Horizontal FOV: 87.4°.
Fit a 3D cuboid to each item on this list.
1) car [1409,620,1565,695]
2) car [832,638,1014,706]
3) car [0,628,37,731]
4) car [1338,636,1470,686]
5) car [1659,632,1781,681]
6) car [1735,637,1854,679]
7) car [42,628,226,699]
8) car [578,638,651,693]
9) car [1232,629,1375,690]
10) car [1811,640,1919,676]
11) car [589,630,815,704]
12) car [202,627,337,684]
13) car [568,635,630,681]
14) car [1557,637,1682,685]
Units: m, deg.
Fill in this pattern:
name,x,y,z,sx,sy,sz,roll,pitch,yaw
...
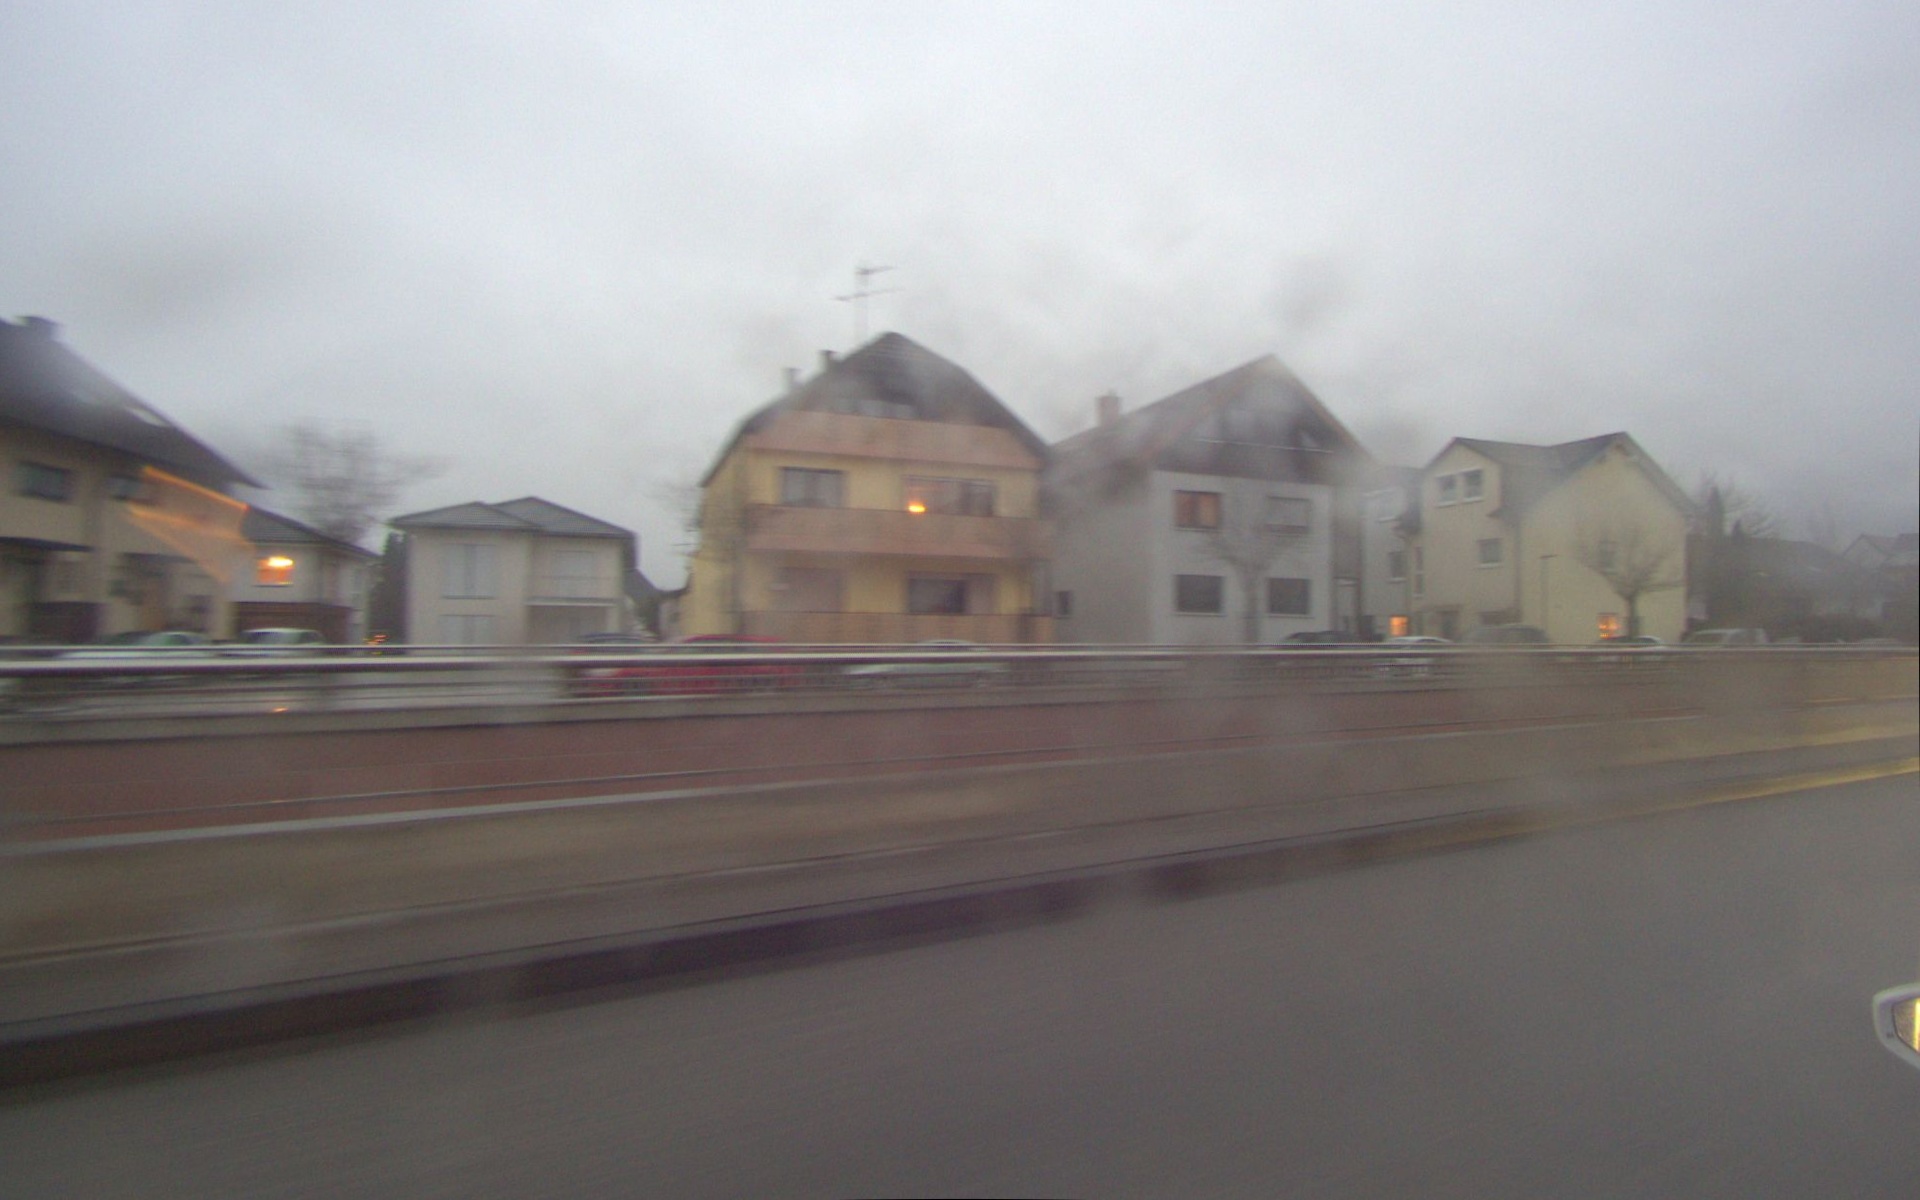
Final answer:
name,x,y,z,sx,sy,sz,roll,pitch,yaw
car,13.744,1.479,26.178,3.814,1.827,1.792,2,-3,-29
car,-0.901,1.721,24.749,4.088,1.525,1.871,1,-1,-25
car,-17.891,1.324,16.276,3.932,1.646,1.811,1,1,-26
car,14.465,1.970,32.731,3.977,1.543,1.764,2,-3,-25
car,30.073,2.228,39.751,4.438,1.802,1.870,0,-3,-24
car,34.749,2.412,41.819,4.435,1.593,1.871,0,-3,-22
car,-21.083,1.568,25.873,1.780,1.544,4.035,1,0,-8
car,-10.648,1.965,30.842,1.970,1.463,3.981,1,-1,-20
car,10.411,1.762,30.439,3.946,1.704,1.853,1,0,-25
car,39.347,2.502,43.548,4.435,1.452,1.871,0,-3,-22
car,-5.674,1.419,22.107,4.584,1.461,1.872,1,-1,-24
car,-21.839,1.720,31.978,1.964,1.565,3.994,1,0,-9
car,-13.065,2.064,36.348,1.970,1.463,3.981,1,-1,-20
car,24.564,2.257,37.413,4.166,1.619,1.870,0,-3,-24
